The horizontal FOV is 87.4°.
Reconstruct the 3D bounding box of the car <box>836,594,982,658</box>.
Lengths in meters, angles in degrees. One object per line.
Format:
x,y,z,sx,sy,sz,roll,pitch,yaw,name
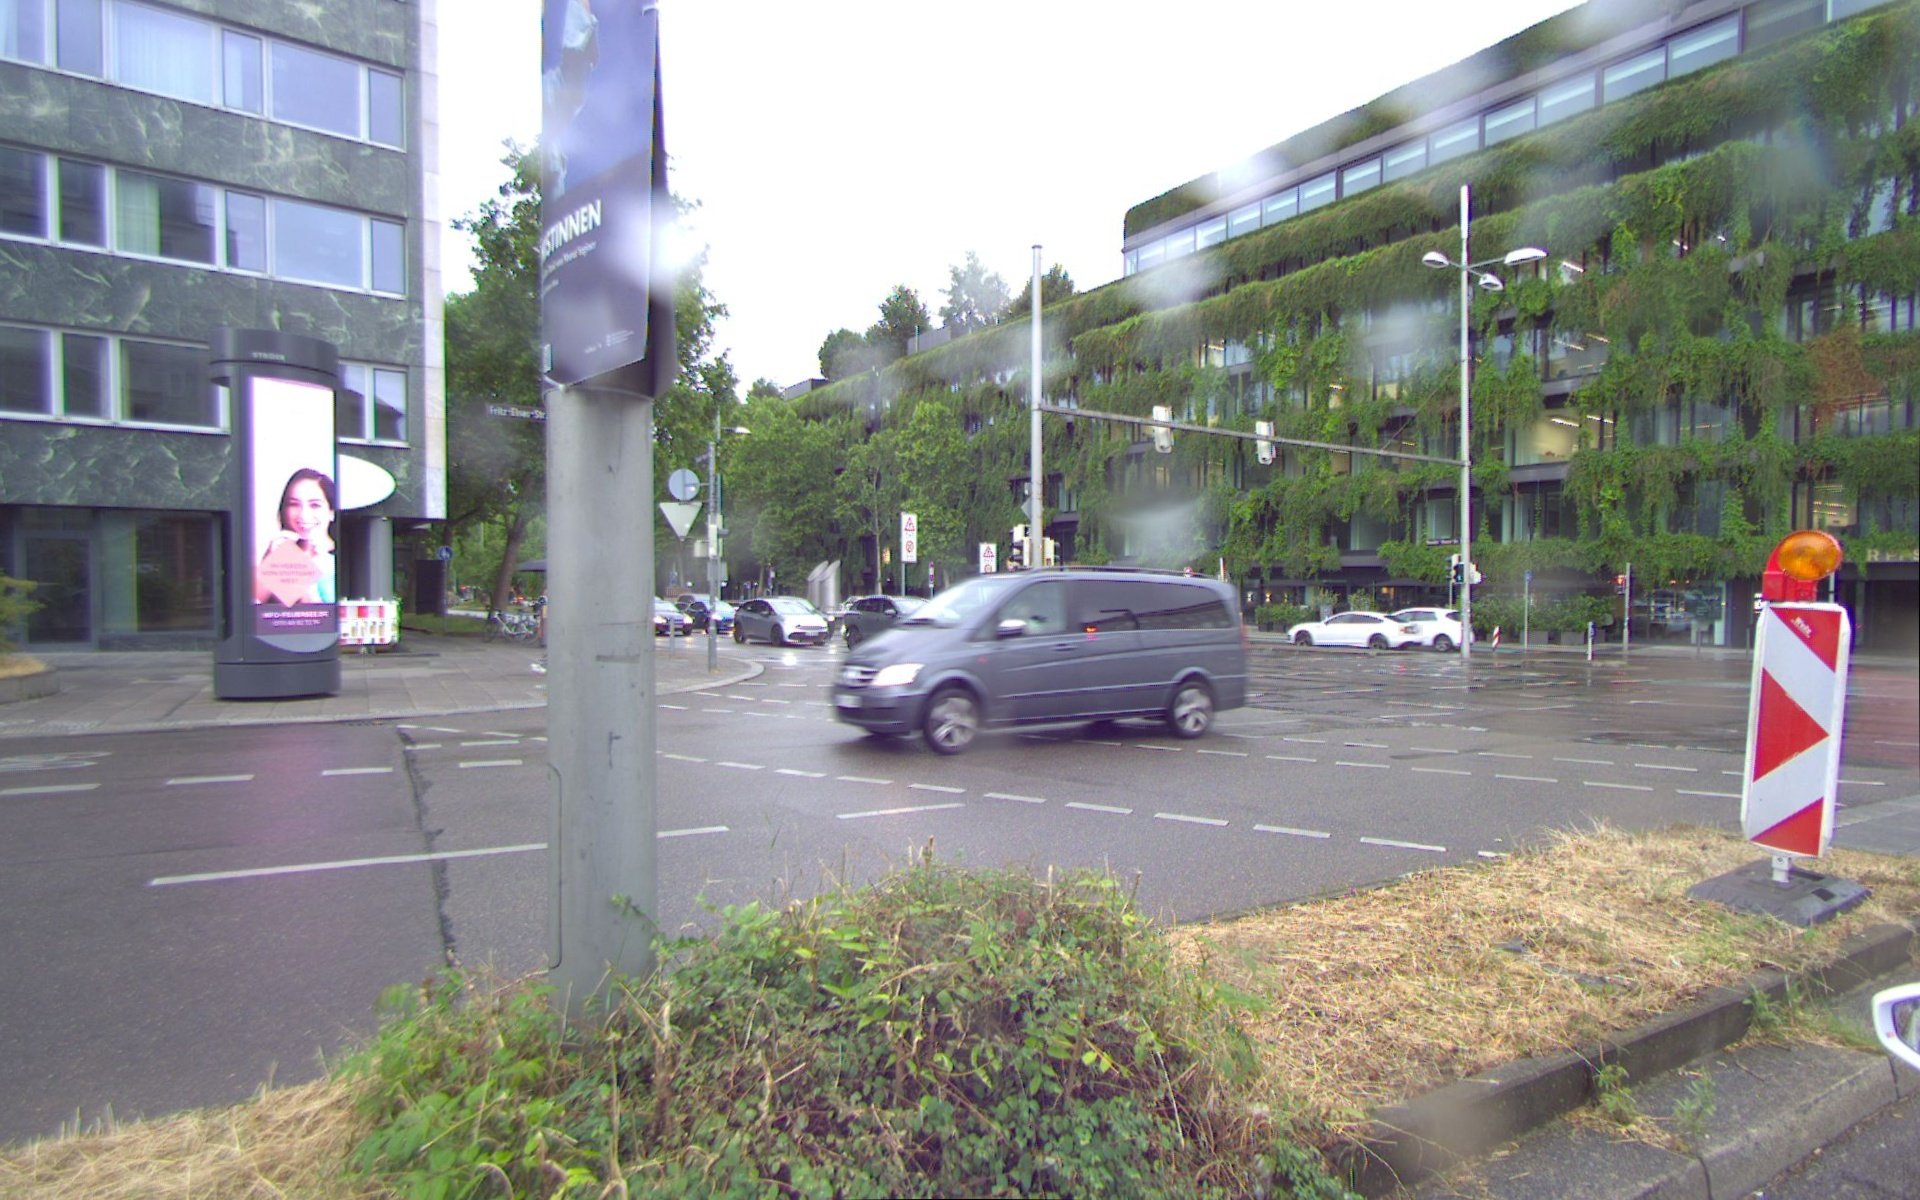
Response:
-1.545,0.697,29.108,1.984,1.709,4.314,1,0,-41,car

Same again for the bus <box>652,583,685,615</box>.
-32.013,-0.165,110.238,1.783,3.385,5.922,2,0,-34,bus

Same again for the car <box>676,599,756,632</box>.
-10.944,0.687,44.829,1.982,1.389,4.131,1,0,-37,car

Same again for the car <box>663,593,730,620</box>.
-13.919,0.330,52.930,1.982,1.389,4.131,1,0,-37,car

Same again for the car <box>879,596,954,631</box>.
-2.284,0.708,52.468,1.837,1.692,3.952,2,0,-41,car

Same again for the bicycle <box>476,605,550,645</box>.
-12.305,0.674,27.667,1.765,1.066,0.581,1,0,-35,bicycle

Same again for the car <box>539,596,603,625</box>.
-20.020,0.518,51.617,1.982,1.389,4.131,1,0,-37,car

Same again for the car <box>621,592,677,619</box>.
-18.674,0.324,60.214,1.918,1.544,4.057,1,0,-38,car

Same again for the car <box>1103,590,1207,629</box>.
8.865,0.407,45.873,1.985,1.660,4.364,2,0,-42,car

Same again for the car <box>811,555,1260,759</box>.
0.941,0.564,11.631,4.903,1.953,1.985,1,0,-28,car

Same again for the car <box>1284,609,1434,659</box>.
14.188,1.167,35.939,1.798,1.532,4.637,2,0,-44,car

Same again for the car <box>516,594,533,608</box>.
-62.751,0.122,144.786,1.975,2.040,3.972,1,0,-27,car

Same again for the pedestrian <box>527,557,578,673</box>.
-7.358,0.272,18.149,0.715,2.040,0.598,1,0,-10,pedestrian

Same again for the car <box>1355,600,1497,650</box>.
18.052,0.946,39.038,1.798,1.647,4.637,2,1,-44,car

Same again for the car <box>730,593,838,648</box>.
-6.007,0.654,34.041,1.982,1.773,3.956,1,0,-38,car

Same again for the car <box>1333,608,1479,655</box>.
16.518,1.135,37.383,1.799,1.532,4.636,2,0,-45,car

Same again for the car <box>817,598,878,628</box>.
-6.613,0.722,58.836,1.834,1.692,3.958,1,0,-37,car

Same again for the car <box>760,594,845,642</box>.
-6.281,0.661,39.676,1.841,1.791,4.139,1,0,-32,car

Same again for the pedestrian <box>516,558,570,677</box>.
-7.264,0.305,17.521,0.715,2.040,0.598,1,0,-10,pedestrian

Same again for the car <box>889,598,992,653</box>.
-0.785,0.908,37.430,1.978,1.923,4.139,1,0,-33,car

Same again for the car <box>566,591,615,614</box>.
-25.690,0.195,69.766,1.919,1.544,4.054,1,0,-40,car

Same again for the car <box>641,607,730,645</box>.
-10.890,0.997,39.630,1.982,1.389,4.131,1,0,-37,car

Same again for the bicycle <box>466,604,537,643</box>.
-12.965,0.658,28.417,1.765,1.066,0.581,1,0,-35,bicycle

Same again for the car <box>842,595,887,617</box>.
-7.358,0.481,77.252,1.783,1.588,3.962,2,0,-34,car
